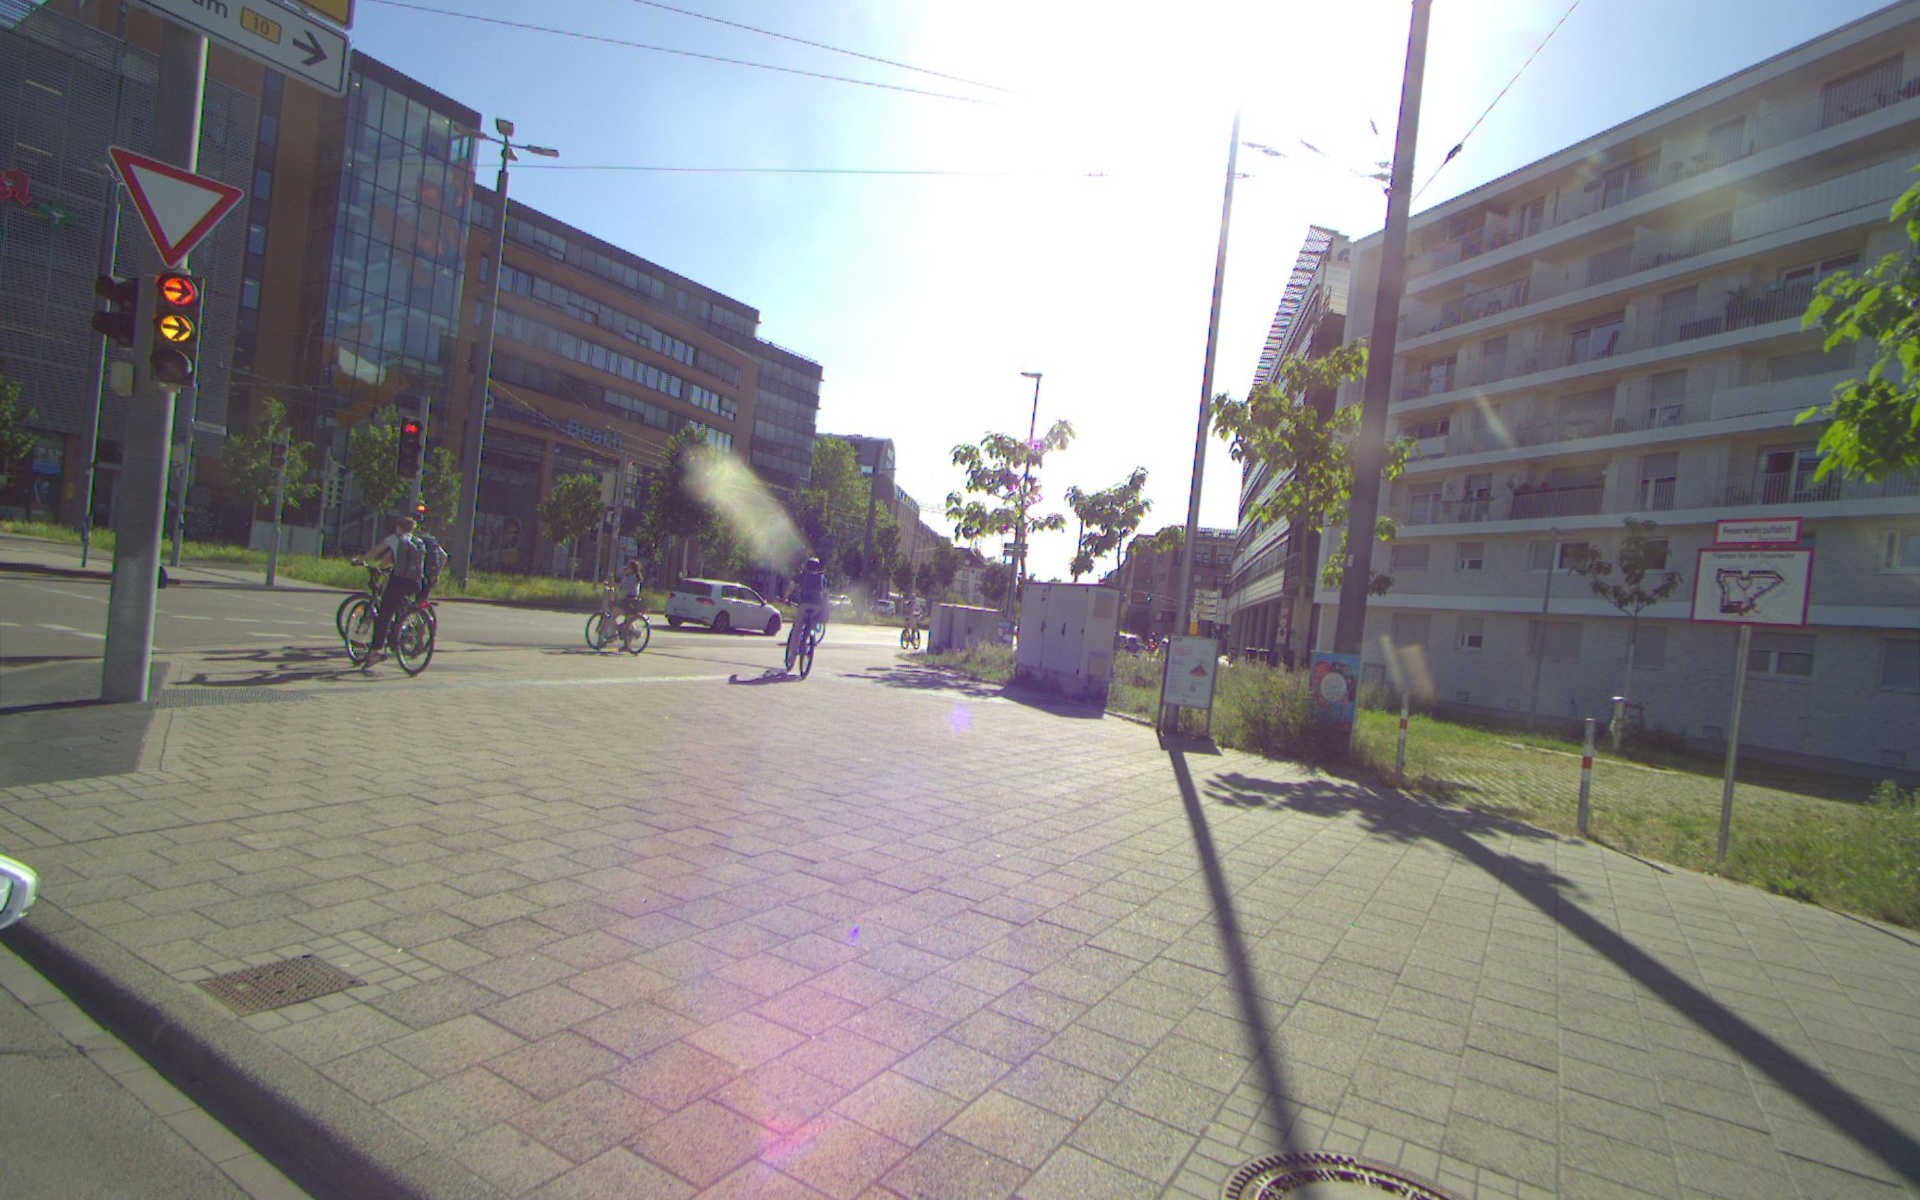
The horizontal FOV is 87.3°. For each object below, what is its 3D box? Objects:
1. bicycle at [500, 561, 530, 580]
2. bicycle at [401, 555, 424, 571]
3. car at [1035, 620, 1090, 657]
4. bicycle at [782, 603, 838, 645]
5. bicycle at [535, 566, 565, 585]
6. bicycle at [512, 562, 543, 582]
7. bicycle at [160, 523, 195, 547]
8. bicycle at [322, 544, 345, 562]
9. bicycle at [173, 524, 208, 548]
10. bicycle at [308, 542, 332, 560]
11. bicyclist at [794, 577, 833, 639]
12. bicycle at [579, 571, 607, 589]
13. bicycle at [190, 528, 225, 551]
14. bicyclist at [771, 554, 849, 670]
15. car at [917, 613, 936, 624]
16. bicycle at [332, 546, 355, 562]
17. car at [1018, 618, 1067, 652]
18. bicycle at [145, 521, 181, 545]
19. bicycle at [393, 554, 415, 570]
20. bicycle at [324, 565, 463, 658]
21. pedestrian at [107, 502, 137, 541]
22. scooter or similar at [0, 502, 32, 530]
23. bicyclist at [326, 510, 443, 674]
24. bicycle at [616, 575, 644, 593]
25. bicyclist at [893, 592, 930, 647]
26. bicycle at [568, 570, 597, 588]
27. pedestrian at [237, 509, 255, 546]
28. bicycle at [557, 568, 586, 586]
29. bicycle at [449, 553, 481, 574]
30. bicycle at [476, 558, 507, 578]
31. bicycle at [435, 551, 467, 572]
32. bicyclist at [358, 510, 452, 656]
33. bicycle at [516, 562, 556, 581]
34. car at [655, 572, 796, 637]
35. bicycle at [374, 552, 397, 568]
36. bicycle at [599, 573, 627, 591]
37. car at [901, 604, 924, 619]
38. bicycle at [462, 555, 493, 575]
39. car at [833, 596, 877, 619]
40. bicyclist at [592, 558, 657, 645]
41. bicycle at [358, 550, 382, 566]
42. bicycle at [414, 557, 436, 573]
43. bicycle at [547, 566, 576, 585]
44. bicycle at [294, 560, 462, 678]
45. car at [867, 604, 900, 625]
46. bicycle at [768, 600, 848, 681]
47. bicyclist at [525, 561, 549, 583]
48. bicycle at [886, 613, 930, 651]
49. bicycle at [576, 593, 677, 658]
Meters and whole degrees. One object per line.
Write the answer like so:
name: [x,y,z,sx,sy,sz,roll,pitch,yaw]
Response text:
bicycle: [-32.409,-2.154,73.257,2.142,1.137,0.752,8,1,27]
bicycle: [-34.720,-2.329,63.767,1.425,0.829,0.445,8,1,27]
car: [5.130,1.921,49.851,1.694,1.543,4.401,7,-1,17]
bicycle: [-4.292,0.696,29.056,0.676,1.082,2.699,8,0,10]
bicycle: [-30.910,-1.855,75.808,2.142,1.137,0.752,8,1,27]
bicycle: [-31.878,-2.050,74.112,2.142,1.137,0.752,8,1,27]
bicycle: [-40.135,-3.353,51.605,2.142,0.966,0.492,8,1,27]
bicycle: [-37.253,-2.796,59.822,1.425,0.829,0.445,8,1,27]
bicycle: [-39.873,-3.318,52.116,2.142,0.966,0.492,8,1,27]
bicycle: [-37.471,-2.866,58.888,1.425,0.829,0.445,8,1,27]
bicyclist: [-4.227,0.235,29.025,0.608,1.690,1.020,8,1,10]
bicycle: [-28.947,-1.602,79.318,2.142,1.137,0.752,8,1,27]
bicycle: [-39.602,-3.185,52.928,2.142,0.966,0.492,8,1,27]
bicyclist: [-2.412,0.174,16.078,0.798,1.714,1.045,8,1,-22]
car: [-4.841,2.710,145.371,1.962,1.350,4.793,7,-1,7]
bicycle: [-37.012,-2.762,60.371,1.425,0.829,0.445,8,1,27]
car: [4.971,2.108,60.260,1.754,1.723,4.139,9,0,19]
bicycle: [-40.440,-3.413,51.033,2.142,0.966,0.492,8,1,27]
bicycle: [-34.963,-2.372,63.242,1.425,0.829,0.445,8,1,27]
bicycle: [-7.485,0.146,13.278,1.862,1.051,0.605,5,1,27]
pedestrian: [-40.084,-3.746,48.115,0.586,1.706,0.778,7,0,18]
scooter or similar: [-44.046,-3.893,46.758,0.272,1.115,1.203,6,-2,34]
bicyclist: [-6.312,-0.087,11.033,0.987,1.675,0.594,7,1,32]
bicycle: [-27.106,-1.332,82.608,2.142,1.137,0.752,8,1,27]
bicyclist: [-1.652,0.682,34.385,0.640,1.774,1.044,7,1,27]
bicycle: [-29.281,-1.647,77.960,2.142,1.137,0.752,8,1,27]
pedestrian: [-40.007,-4.063,56.367,0.369,1.937,0.539,6,-1,39]
bicycle: [-29.866,-1.772,77.298,2.142,1.137,0.752,8,1,27]
bicycle: [-34.452,-2.551,70.025,2.142,1.137,0.752,8,1,27]
bicycle: [-33.485,-2.272,71.949,2.142,1.137,0.752,8,1,27]
bicycle: [-34.977,-2.656,69.115,2.142,1.137,0.752,8,1,27]
bicyclist: [-7.276,-0.222,13.188,0.890,1.821,0.549,5,1,27]
bicycle: [-29.543,-2.012,70.155,0.588,1.023,2.563,7,-1,33]
car: [-6.765,0.174,29.532,1.746,1.420,4.293,9,0,22]
bicycle: [-35.448,-2.484,62.043,1.425,0.829,0.445,8,1,27]
bicycle: [-27.984,-1.459,81.019,2.142,1.137,0.752,8,1,27]
car: [-6.278,1.542,133.485,1.962,1.701,4.541,7,-1,9]
bicycle: [-34.003,-2.467,70.915,2.142,1.137,0.752,8,1,27]
car: [-9.606,0.696,92.590,1.780,1.672,5.549,7,-1,17]
bicyclist: [-5.822,0.036,17.445,0.814,1.421,0.588,5,1,32]
bicycle: [-35.957,-2.570,61.313,1.425,0.829,0.445,8,1,27]
bicycle: [-34.333,-2.246,64.554,1.425,0.829,0.445,8,1,27]
bicycle: [-30.330,-1.862,76.588,2.142,1.137,0.752,8,1,27]
bicycle: [-6.437,0.193,11.091,1.978,1.119,0.695,5,0,32]
car: [-8.805,1.661,116.131,2.185,2.038,5.259,7,-1,13]
bicycle: [-2.469,0.622,16.146,0.816,1.049,1.883,8,0,-19]
bicyclist: [-29.498,-1.951,70.231,0.584,1.425,1.309,7,0,33]
bicycle: [-1.761,1.106,34.281,0.640,1.122,1.758,6,-3,26]
bicycle: [-5.809,0.440,17.487,1.679,0.966,0.695,5,0,32]
